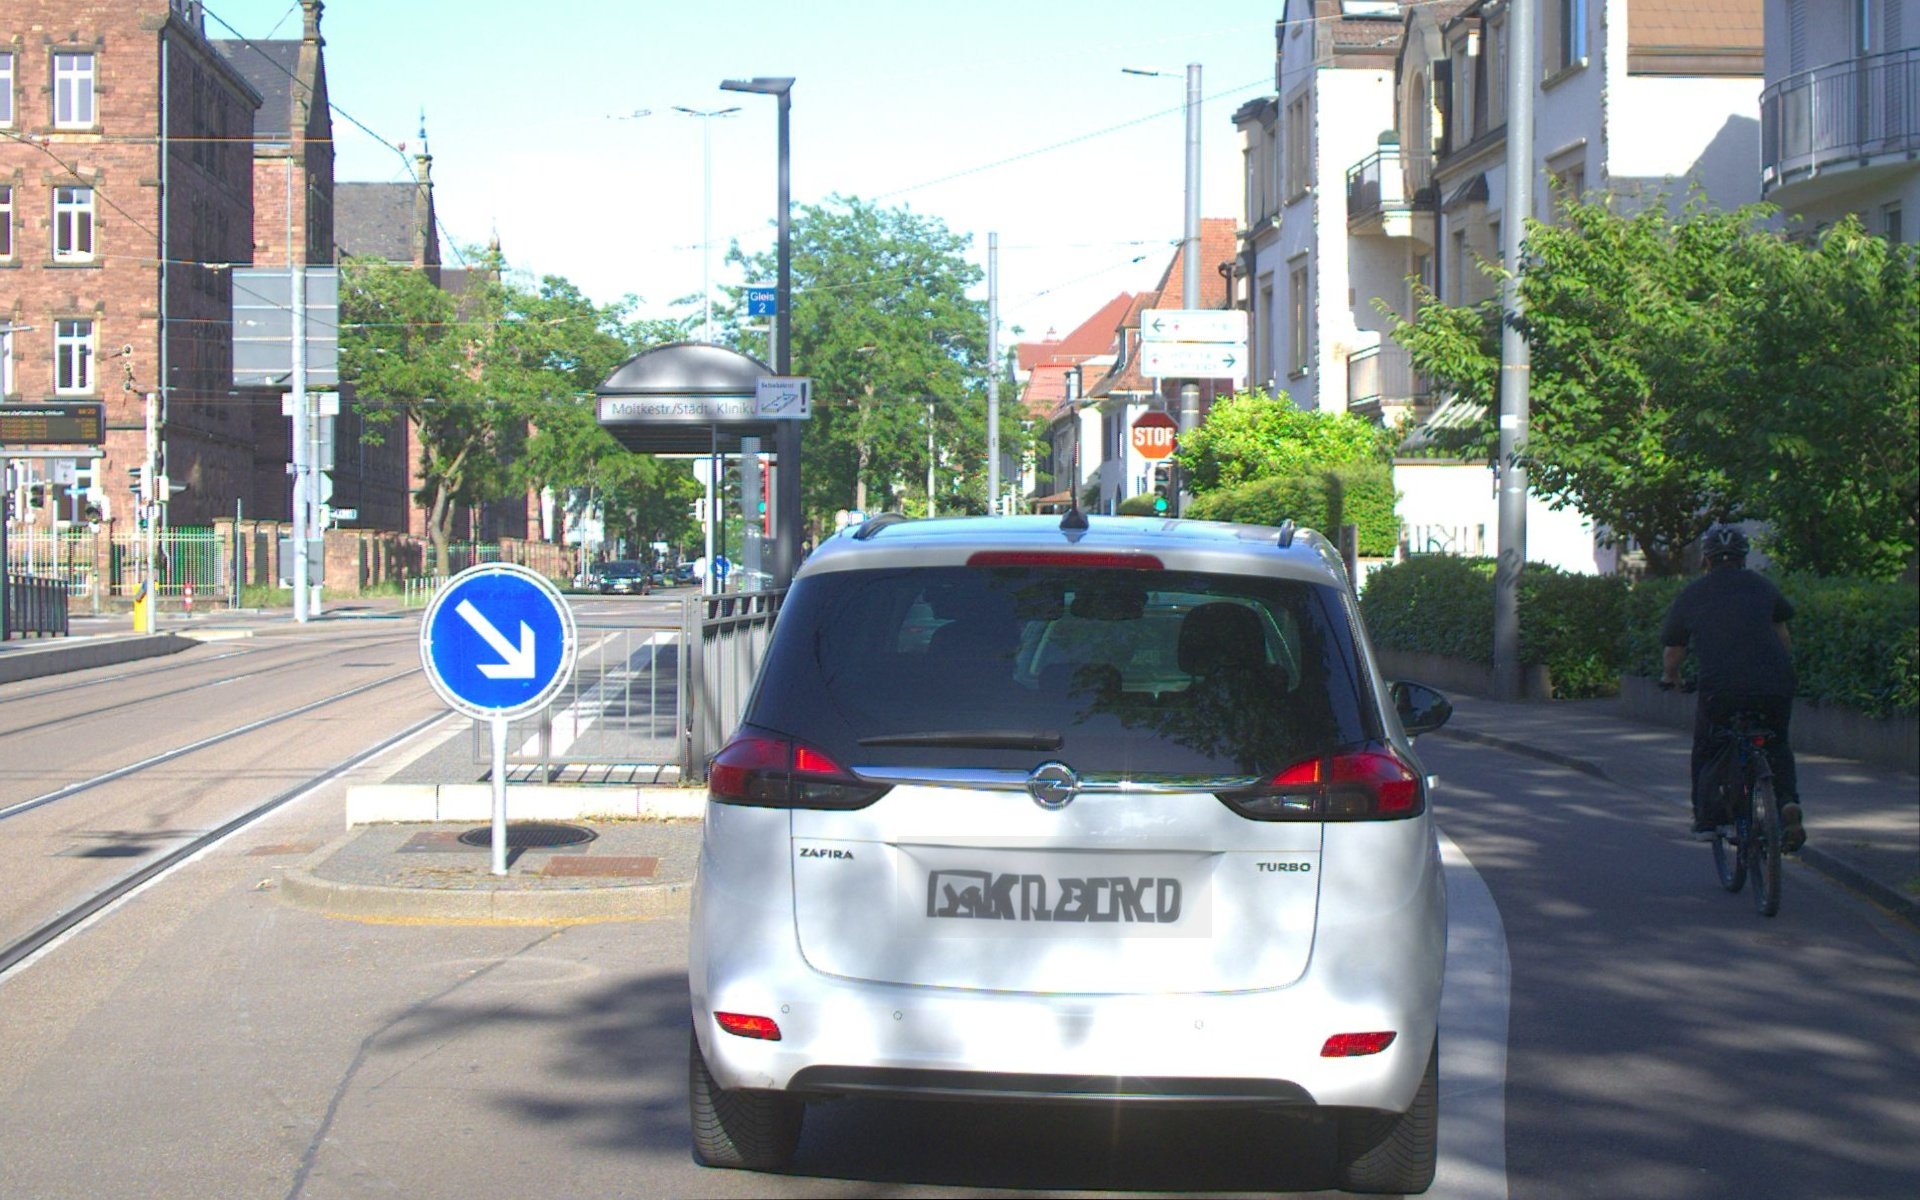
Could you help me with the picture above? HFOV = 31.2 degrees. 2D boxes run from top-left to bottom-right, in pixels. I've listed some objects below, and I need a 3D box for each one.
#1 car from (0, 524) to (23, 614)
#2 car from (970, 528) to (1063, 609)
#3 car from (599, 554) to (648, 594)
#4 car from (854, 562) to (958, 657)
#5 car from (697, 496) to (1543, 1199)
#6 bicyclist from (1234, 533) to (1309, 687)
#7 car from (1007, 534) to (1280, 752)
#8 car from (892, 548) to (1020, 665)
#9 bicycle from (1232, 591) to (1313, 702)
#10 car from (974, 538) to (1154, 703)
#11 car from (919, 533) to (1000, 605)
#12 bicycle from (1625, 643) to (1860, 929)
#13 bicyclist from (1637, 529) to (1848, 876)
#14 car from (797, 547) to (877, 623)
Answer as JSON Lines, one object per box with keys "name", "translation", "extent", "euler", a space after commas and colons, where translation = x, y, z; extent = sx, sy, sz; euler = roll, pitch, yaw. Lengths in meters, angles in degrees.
{"name": "car", "translation": [-16.606, -0.529, 55.381], "extent": [1.855, 1.399, 3.982], "euler": [-6, -4, -1]}
{"name": "car", "translation": [1.158, -0.649, 71.835], "extent": [1.776, 1.626, 3.881], "euler": [1, 0, -1]}
{"name": "car", "translation": [-14.392, -1.117, 147.113], "extent": [1.906, 1.671, 4.358], "euler": [0, 1, -3]}
{"name": "car", "translation": [-0.955, 0.153, 61.232], "extent": [1.776, 1.626, 3.881], "euler": [1, 0, -1]}
{"name": "car", "translation": [0.263, 0.590, 9.471], "extent": [1.834, 1.636, 3.919], "euler": [1, 0, -3]}
{"name": "bicyclist", "translation": [3.349, 0.101, 36.998], "extent": [0.685, 1.629, 1.015], "euler": [1, 0, -1]}
{"name": "car", "translation": [1.410, 0.312, 27.858], "extent": [1.775, 1.626, 3.881], "euler": [1, 0, -3]}
{"name": "car", "translation": [-0.092, 0.077, 50.199], "extent": [1.776, 1.626, 3.881], "euler": [1, 0, -1]}
{"name": "bicycle", "translation": [3.349, 0.484, 36.976], "extent": [0.685, 1.153, 1.619], "euler": [1, 0, -1]}
{"name": "car", "translation": [1.046, 0.191, 36.172], "extent": [1.776, 1.626, 3.880], "euler": [1, 0, 0]}
{"name": "car", "translation": [-0.029, -0.717, 80.248], "extent": [1.776, 1.626, 3.881], "euler": [1, 0, -1]}
{"name": "bicycle", "translation": [3.495, 0.794, 15.519], "extent": [0.829, 1.150, 2.094], "euler": [1, 0, 8]}
{"name": "bicyclist", "translation": [3.496, 0.442, 15.432], "extent": [0.821, 1.496, 0.934], "euler": [1, 0, 8]}
{"name": "car", "translation": [-2.826, -0.349, 79.327], "extent": [1.776, 1.687, 3.881], "euler": [1, 0, -1]}
